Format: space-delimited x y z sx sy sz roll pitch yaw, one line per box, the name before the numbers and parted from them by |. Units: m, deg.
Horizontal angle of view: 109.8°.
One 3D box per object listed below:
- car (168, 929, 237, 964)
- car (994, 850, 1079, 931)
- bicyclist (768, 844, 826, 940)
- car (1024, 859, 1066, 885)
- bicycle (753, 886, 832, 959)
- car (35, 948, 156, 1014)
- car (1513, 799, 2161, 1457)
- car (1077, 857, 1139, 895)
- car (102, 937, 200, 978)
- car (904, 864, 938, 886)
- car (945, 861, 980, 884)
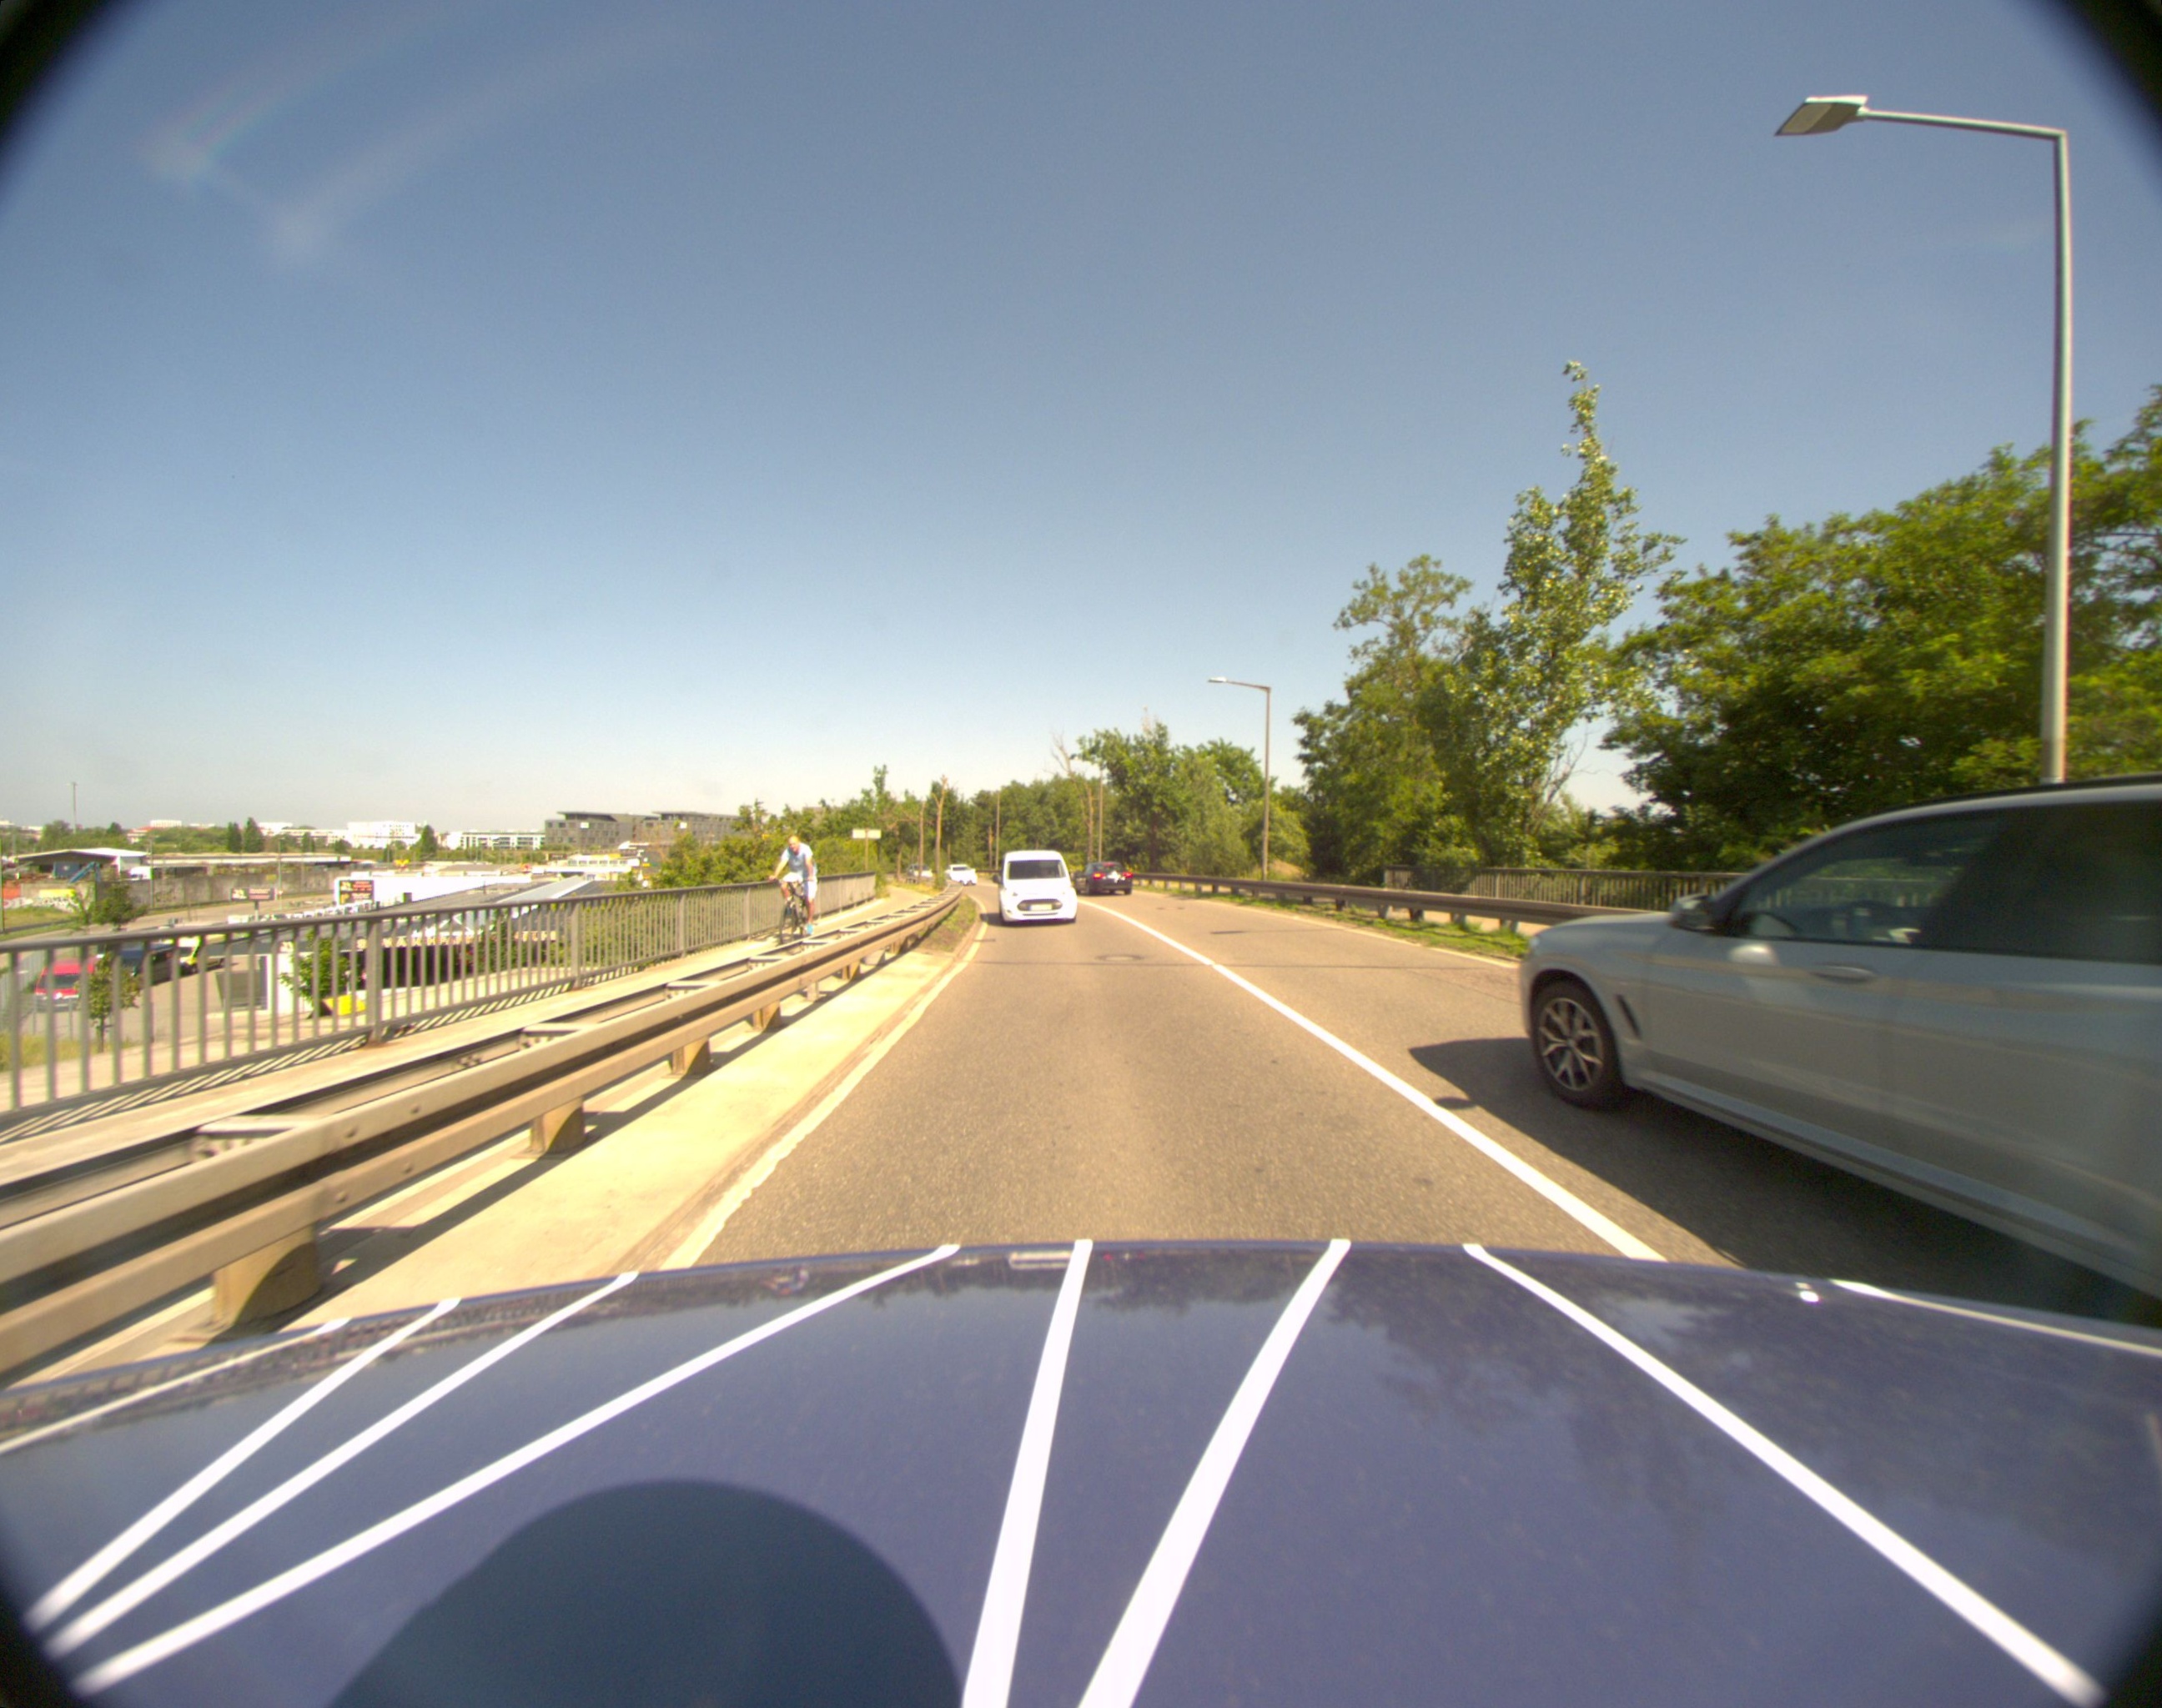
car | -64.516 6.765 55.906 2.002 1.861 3.991 -7 3 -31
car | -1.206 0.824 19.563 1.898 1.785 4.445 -2 0 -5
bicyclist | -4.649 0.604 12.465 0.660 1.511 0.802 2 1 -6
car | -2.186 1.038 44.986 1.723 1.390 4.177 -2 0 -14
bicycle | -4.657 1.077 12.392 0.704 1.014 1.845 2 0 -6
car | -58.317 7.413 45.164 2.311 2.650 5.364 -7 5 -31
car | 3.653 0.653 2.512 1.863 1.673 4.472 -2 1 0
car | 1.052 0.879 32.005 1.744 1.448 4.295 -2 0 -10
car | -61.664 6.800 50.535 2.311 1.666 5.364 -7 5 -31
car | -13.929 1.768 66.097 2.001 1.576 3.992 -8 3 -23
car | -8.492 1.280 54.156 1.848 1.479 4.145 -2 0 -18
